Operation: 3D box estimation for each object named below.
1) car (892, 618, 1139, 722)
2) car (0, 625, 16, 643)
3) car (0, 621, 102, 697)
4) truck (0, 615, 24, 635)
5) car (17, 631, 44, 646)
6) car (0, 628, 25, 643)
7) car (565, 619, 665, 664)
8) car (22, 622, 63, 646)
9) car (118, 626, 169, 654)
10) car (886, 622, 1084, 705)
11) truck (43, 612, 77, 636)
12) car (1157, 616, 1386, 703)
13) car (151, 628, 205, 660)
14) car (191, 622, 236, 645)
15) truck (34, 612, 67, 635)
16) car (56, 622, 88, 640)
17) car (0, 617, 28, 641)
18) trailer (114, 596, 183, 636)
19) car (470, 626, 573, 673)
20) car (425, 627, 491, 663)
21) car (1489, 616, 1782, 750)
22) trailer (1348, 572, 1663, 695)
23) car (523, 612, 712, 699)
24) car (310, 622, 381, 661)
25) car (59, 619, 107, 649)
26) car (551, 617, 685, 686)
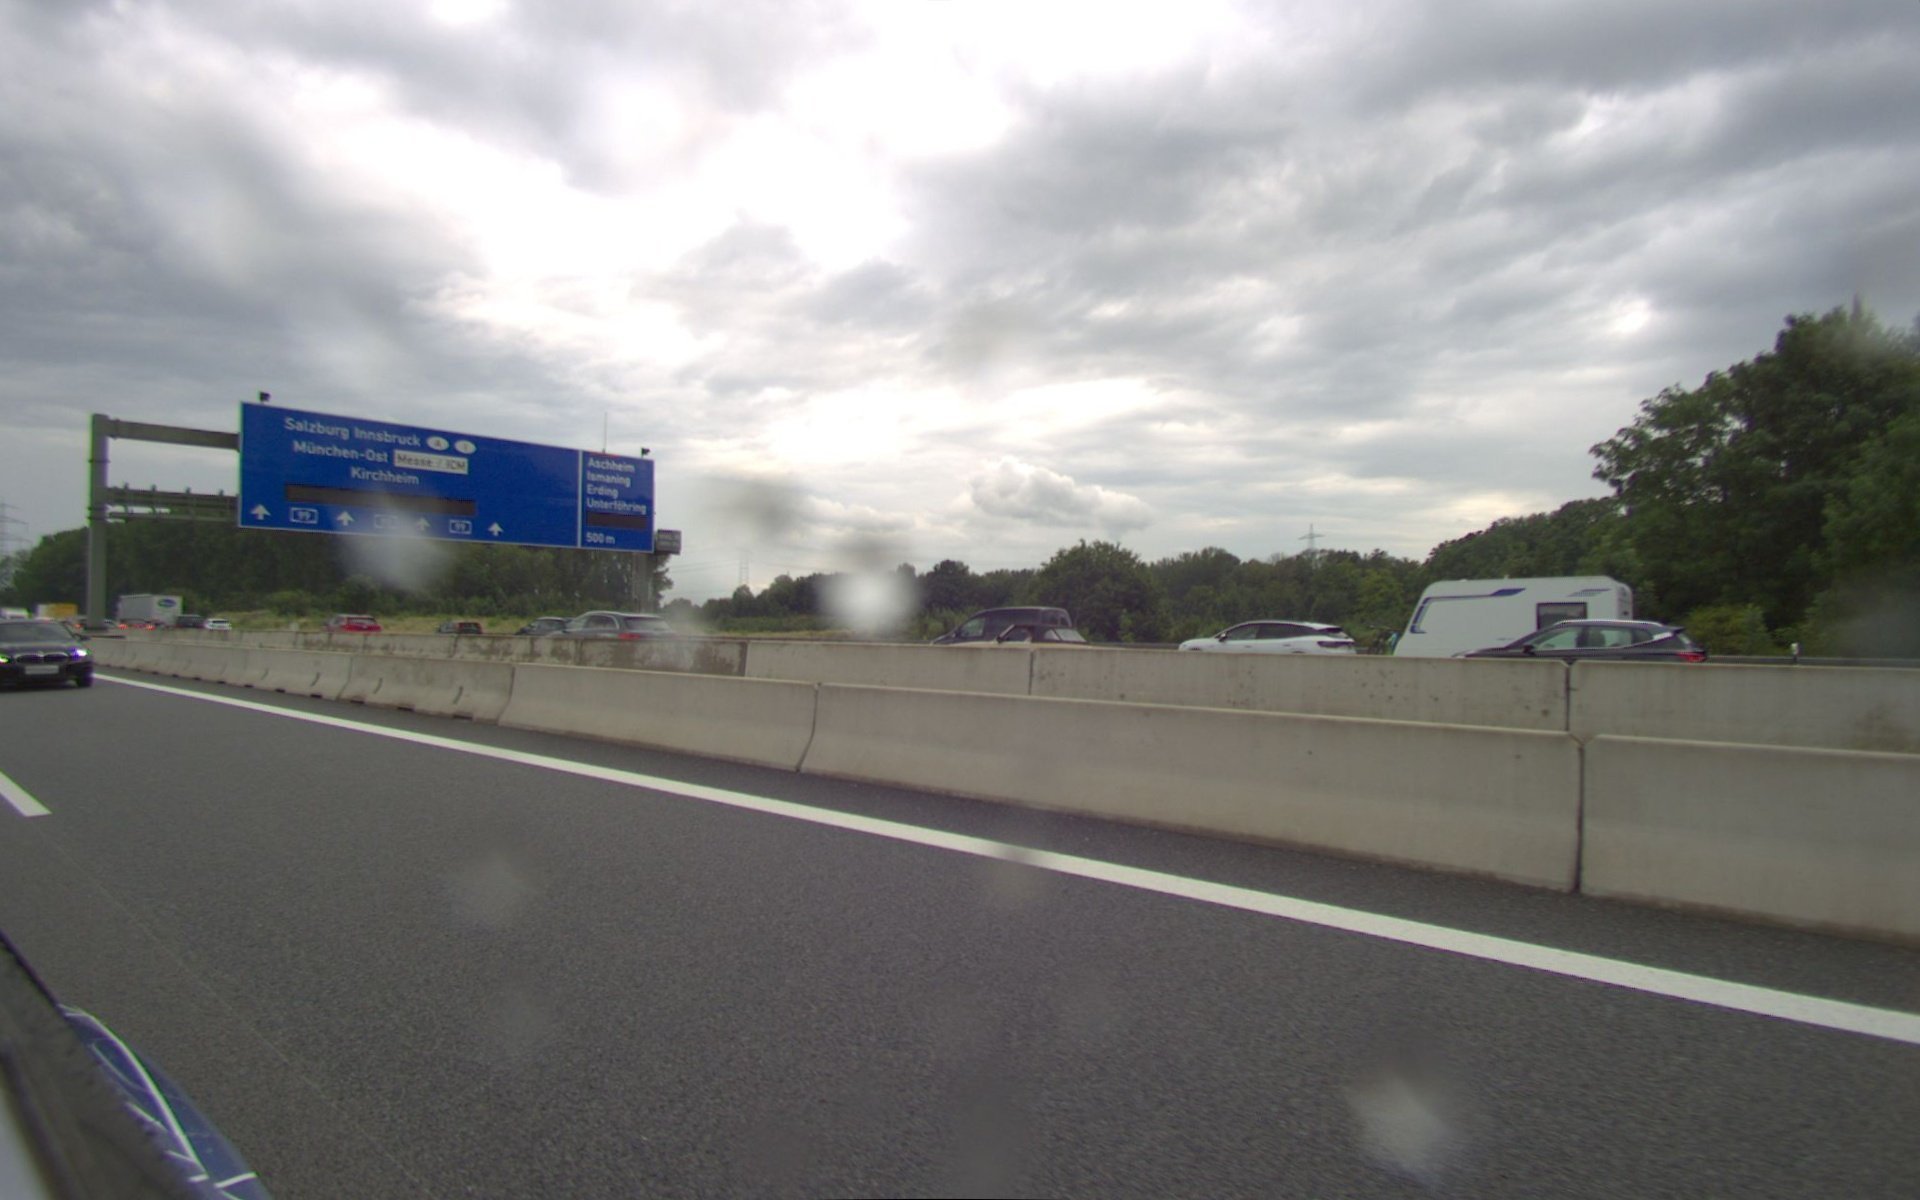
[{"bbox_3d":[1.082,1.417,21.910,5.222,1.967,1.973,-2,-1,41],"label":"car"},{"bbox_3d":[-97.963,3.456,103.126,4.868,1.728,1.973,-2,-1,40],"label":"car"},{"bbox_3d":[-19.361,1.175,20.949,3.998,1.426,1.898,-2,-2,41],"label":"car"},{"bbox_3d":[-160.912,4.179,171.093,9.194,3.315,2.880,-2,-1,40],"label":"truck"},{"bbox_3d":[-119.040,4.919,129.587,4.695,1.728,1.973,-2,-1,40],"label":"car"},{"bbox_3d":[-113.509,4.277,120.970,4.695,1.728,1.973,-2,-1,40],"label":"car"},{"bbox_3d":[-16.510,1.945,48.344,5.222,1.967,2.219,-2,-1,41],"label":"car"},{"bbox_3d":[-74.922,2.757,82.613,4.359,1.906,1.973,-2,-1,41],"label":"car"},{"bbox_3d":[-49.604,2.424,61.458,3.998,1.608,1.711,-2,-1,41],"label":"car"},{"bbox_3d":[0.575,1.611,27.078,5.222,1.967,1.973,-2,-1,41],"label":"car"},{"bbox_3d":[-141.771,3.705,159.336,9.575,3.640,2.848,-1,-1,41],"label":"truck"},{"bbox_3d":[7.831,1.434,25.789,5.222,1.967,1.973,-2,-1,41],"label":"car"},{"bbox_3d":[-52.496,2.929,67.895,4.757,2.029,1.973,-2,-1,41],"label":"car"},{"bbox_3d":[-68.159,3.039,92.373,4.826,1.967,2.405,-2,-1,41],"label":"car"},{"bbox_3d":[-148.668,3.889,165.388,10.306,3.640,2.848,-1,-1,41],"label":"truck"},{"bbox_3d":[-99.730,3.458,113.655,5.389,1.887,1.973,-2,-1,41],"label":"car"},{"bbox_3d":[-133.735,4.046,142.635,6.555,3.302,2.634,-1,-1,39],"label":"car"},{"bbox_3d":[-85.705,1.729,106.721,13.798,4.059,3.206,-2,-1,40],"label":"trailer"},{"bbox_3d":[-19.723,2.170,45.443,5.222,1.967,2.219,-2,-1,41],"label":"car"},{"bbox_3d":[-29.394,2.599,59.207,4.559,2.029,1.888,-2,-1,41],"label":"car"},{"bbox_3d":[11.597,1.320,17.509,3.998,2.029,1.798,-2,-1,41],"label":"car"},{"bbox_3d":[11.914,0.709,22.409,5.781,2.393,2.219,-2,-1,41],"label":"trailer"},{"bbox_3d":[-8.765,1.336,25.658,5.222,1.967,2.219,-2,-1,41],"label":"car"},{"bbox_3d":[-29.373,1.955,48.331,4.334,1.758,1.661,-2,-1,41],"label":"car"},{"bbox_3d":[-62.929,2.441,72.595,4.757,2.029,1.973,-2,-1,41],"label":"car"},{"bbox_3d":[-11.019,1.596,32.427,4.762,2.029,1.973,-2,-1,41],"label":"car"}]
